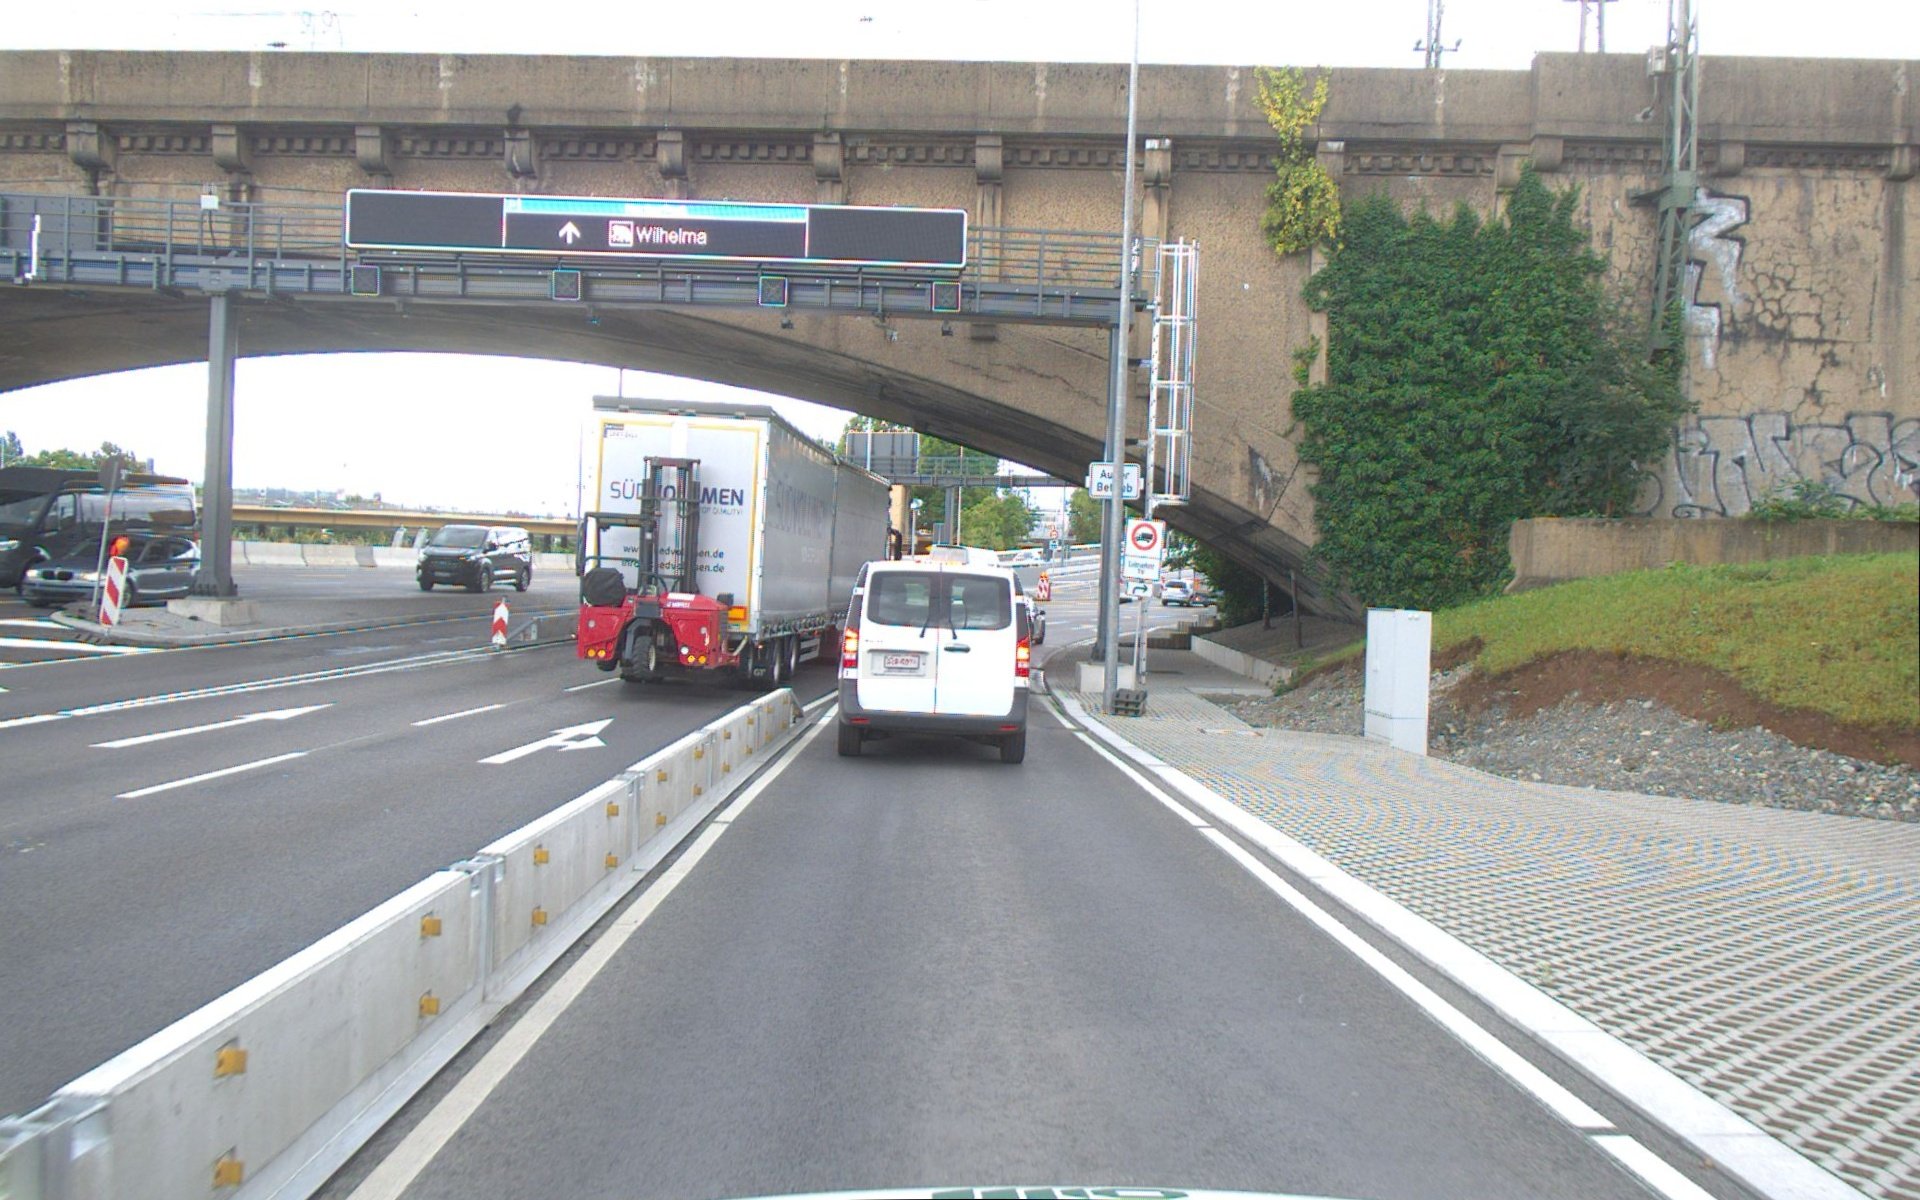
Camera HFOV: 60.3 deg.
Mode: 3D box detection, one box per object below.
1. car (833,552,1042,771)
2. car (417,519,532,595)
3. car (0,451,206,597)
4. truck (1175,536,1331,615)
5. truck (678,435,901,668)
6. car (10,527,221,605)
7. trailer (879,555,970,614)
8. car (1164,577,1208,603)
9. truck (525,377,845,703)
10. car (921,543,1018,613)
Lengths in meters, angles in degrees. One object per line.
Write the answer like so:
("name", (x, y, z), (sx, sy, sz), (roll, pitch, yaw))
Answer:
("car", (-0.182, 0.567, 17.539), (1.838, 1.924, 4.753), (2, 0, 1))
("car", (-15.123, -1.301, 51.840), (1.922, 2.049, 5.189), (0, -2, 2))
("car", (-19.024, -1.515, 35.549), (2.168, 2.825, 6.149), (1, 0, 7))
("truck", (16.720, -1.243, 92.686), (3.255, 3.874, 16.565), (5, 2, 29))
("truck", (-3.406, -0.840, 36.721), (2.925, 4.249, 11.244), (3, -1, 4))
("car", (-15.740, -0.612, 31.098), (1.847, 1.354, 4.256), (0, 0, -1))
("trailer", (-1.315, -0.590, 62.685), (1.953, 1.991, 4.079), (5, 2, 21))
("car", (12.834, -0.559, 93.695), (1.346, 1.400, 3.457), (2, 1, 28))
("truck", (-3.927, -0.773, 26.567), (2.857, 4.087, 10.203), (3, 0, 2))
("car", (0.448, -0.892, 66.945), (1.954, 2.585, 5.173), (5, 2, 22))
